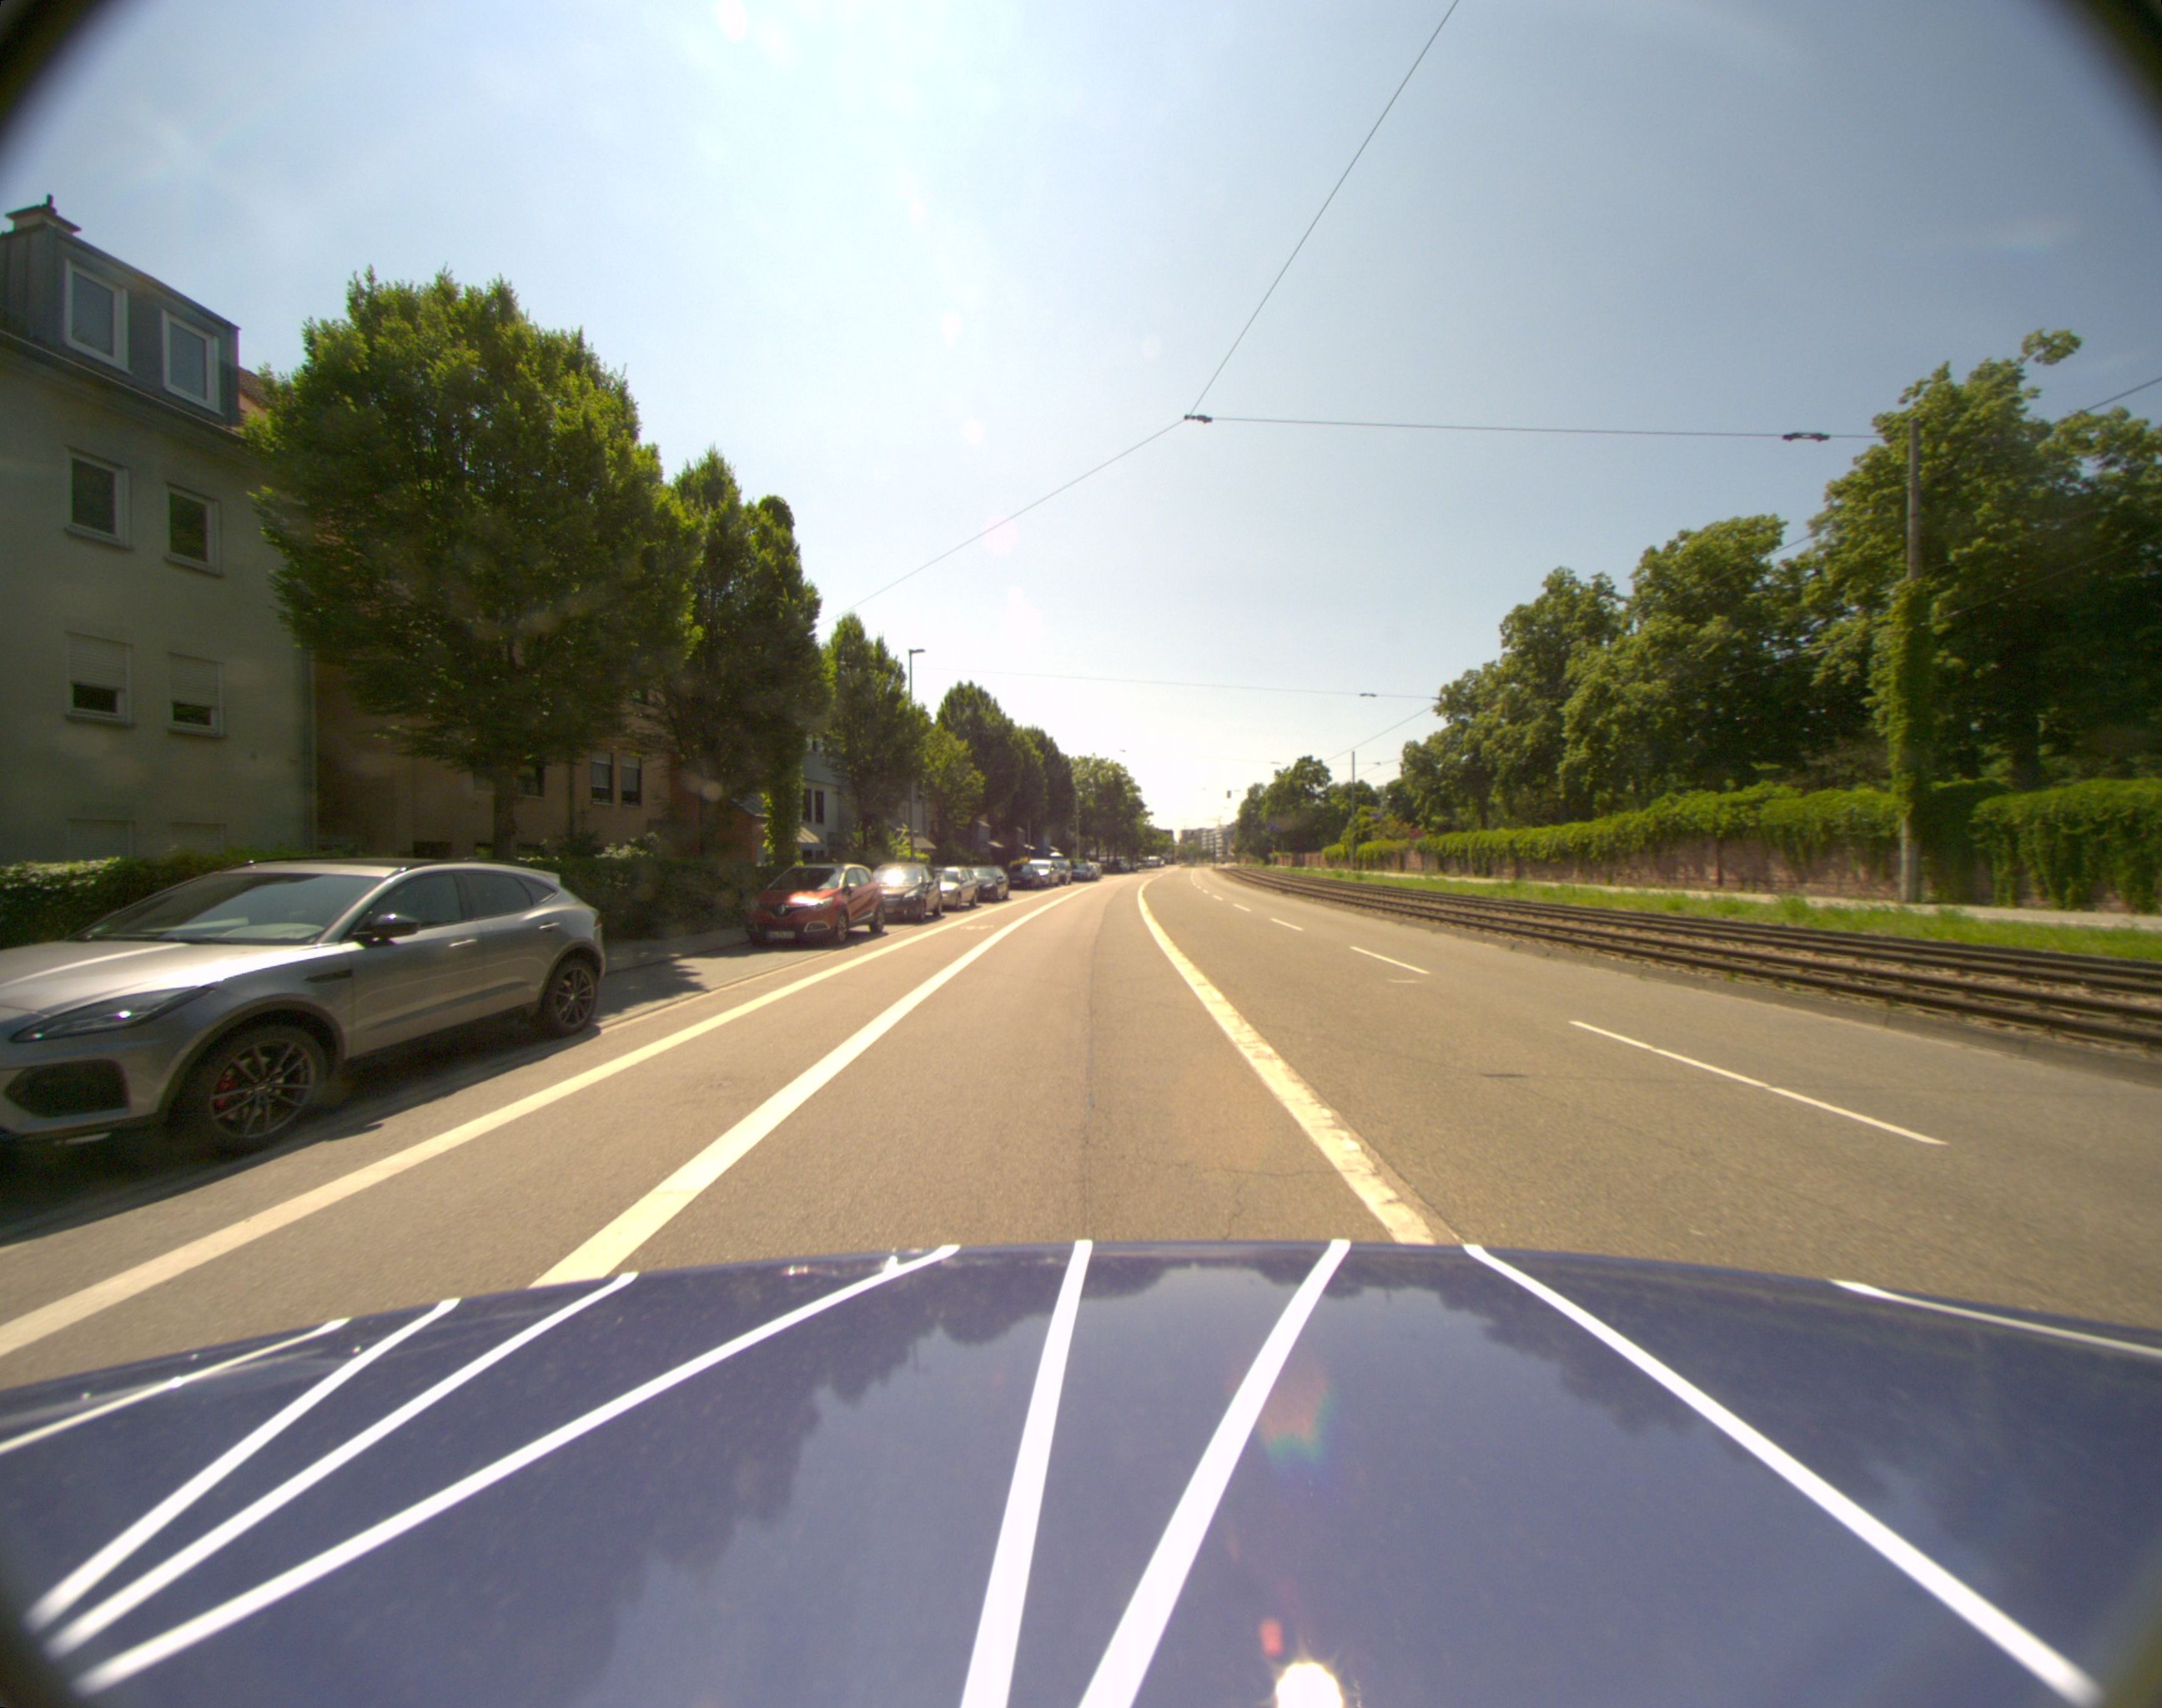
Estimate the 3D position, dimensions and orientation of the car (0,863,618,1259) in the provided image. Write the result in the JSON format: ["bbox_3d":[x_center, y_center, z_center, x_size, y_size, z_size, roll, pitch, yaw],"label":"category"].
[{"bbox_3d":[-5.500,0.914,5.412,1.760,1.621,4.323,1,0,0],"label":"car"}]

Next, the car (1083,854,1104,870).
[{"bbox_3d":[1.276,0.815,75.746,1.521,1.520,3.819,1,0,9],"label":"car"}]

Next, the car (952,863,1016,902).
[{"bbox_3d":[-4.118,1.167,33.012,1.710,1.484,5.040,1,0,5],"label":"car"}]

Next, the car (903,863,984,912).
[{"bbox_3d":[-4.769,1.109,26.990,1.710,1.484,4.733,1,0,4],"label":"car"}]

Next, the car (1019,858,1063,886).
[{"bbox_3d":[-2.553,1.099,49.463,1.844,1.684,4.782,1,0,9],"label":"car"}]

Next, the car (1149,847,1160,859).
[{"bbox_3d":[16.962,-0.269,175.277,2.001,2.621,6.147,1,0,9],"label":"car"}]

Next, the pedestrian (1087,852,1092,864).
[{"bbox_3d":[1.266,0.566,113.506,0.749,1.712,0.633,-2,0,2],"label":"pedestrian"}]

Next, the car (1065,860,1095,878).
[{"bbox_3d":[-0.031,1.276,65.782,1.843,1.520,4.219,1,0,10],"label":"car"}]

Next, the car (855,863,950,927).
[{"bbox_3d":[-4.994,1.088,21.801,1.711,1.553,4.323,1,0,-1],"label":"car"}]

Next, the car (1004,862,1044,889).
[{"bbox_3d":[-3.261,1.199,44.378,1.586,1.415,4.182,1,0,6],"label":"car"}]

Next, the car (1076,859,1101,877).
[{"bbox_3d":[0.728,1.286,70.667,1.844,1.520,4.968,1,0,6],"label":"car"}]

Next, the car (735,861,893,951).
[{"bbox_3d":[-5.364,0.969,15.896,1.711,1.553,4.324,1,0,1],"label":"car"}]

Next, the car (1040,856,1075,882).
[{"bbox_3d":[-1.668,1.041,55.910,1.844,1.783,4.356,1,0,7],"label":"car"}]

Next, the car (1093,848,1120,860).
[{"bbox_3d":[5.714,-0.009,169.648,5.500,2.445,2.096,-4,0,10],"label":"car"}]

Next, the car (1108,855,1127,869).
[{"bbox_3d":[4.714,1.007,97.147,1.844,1.696,4.630,1,0,10],"label":"car"}]
